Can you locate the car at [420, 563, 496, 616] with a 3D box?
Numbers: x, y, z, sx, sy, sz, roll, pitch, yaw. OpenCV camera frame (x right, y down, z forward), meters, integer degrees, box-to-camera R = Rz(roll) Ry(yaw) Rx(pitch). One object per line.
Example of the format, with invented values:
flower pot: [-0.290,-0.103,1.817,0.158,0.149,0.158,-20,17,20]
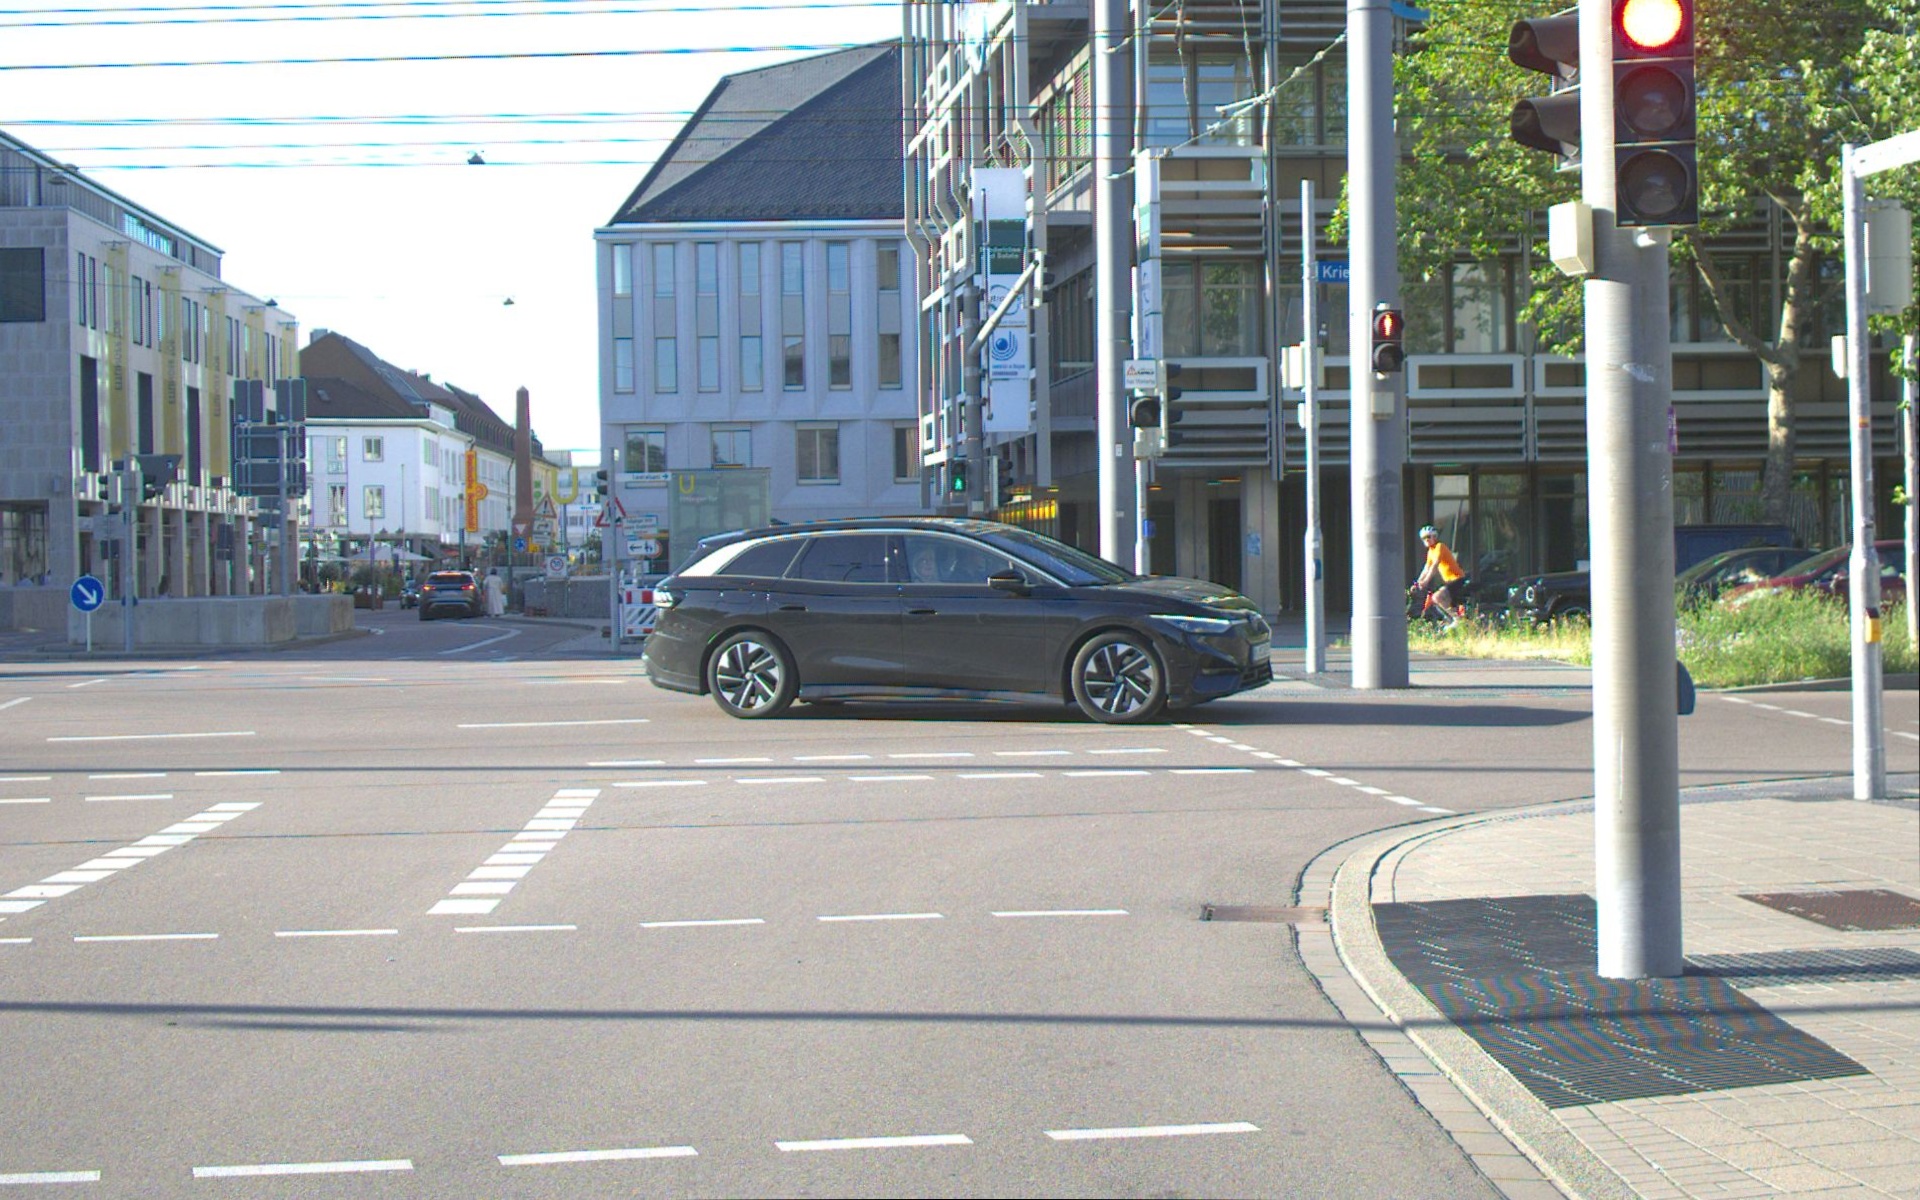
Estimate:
car: [-15.803,-0.353,108.426,2.199,1.601,4.327,-1,1,-6]

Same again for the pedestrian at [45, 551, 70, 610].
pedestrian: [-31.040,-0.675,118.251,0.626,2.007,0.733,-1,1,2]

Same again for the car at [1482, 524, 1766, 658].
car: [10.350,-0.146,53.781,3.986,2.007,2.000,1,0,-3]

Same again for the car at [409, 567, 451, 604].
car: [-26.583,-0.757,172.471,1.756,1.777,4.001,-1,1,-4]

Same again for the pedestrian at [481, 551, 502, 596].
pedestrian: [-14.783,-0.850,108.505,0.609,1.406,0.570,-1,1,-6]

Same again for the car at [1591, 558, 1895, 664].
car: [11.499,0.155,50.665,3.986,1.503,1.868,0,1,-3]

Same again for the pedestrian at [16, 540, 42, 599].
pedestrian: [-32.010,-1.055,118.219,0.626,2.007,0.733,-1,1,2]

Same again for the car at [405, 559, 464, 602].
car: [-21.316,-0.815,139.476,1.993,1.654,4.407,-2,1,-4]

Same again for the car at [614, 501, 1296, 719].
car: [-0.019,0.081,26.837,4.942,1.596,1.998,0,0,18]

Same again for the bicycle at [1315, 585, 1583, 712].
bicycle: [6.698,0.647,47.150,3.490,1.653,0.932,-1,1,-9]

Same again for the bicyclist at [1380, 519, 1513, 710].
bicyclist: [6.667,0.188,47.144,1.567,2.571,0.932,-1,1,-9]

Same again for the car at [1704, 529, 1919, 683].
car: [12.292,0.085,46.413,3.986,2.007,2.000,1,0,-3]
